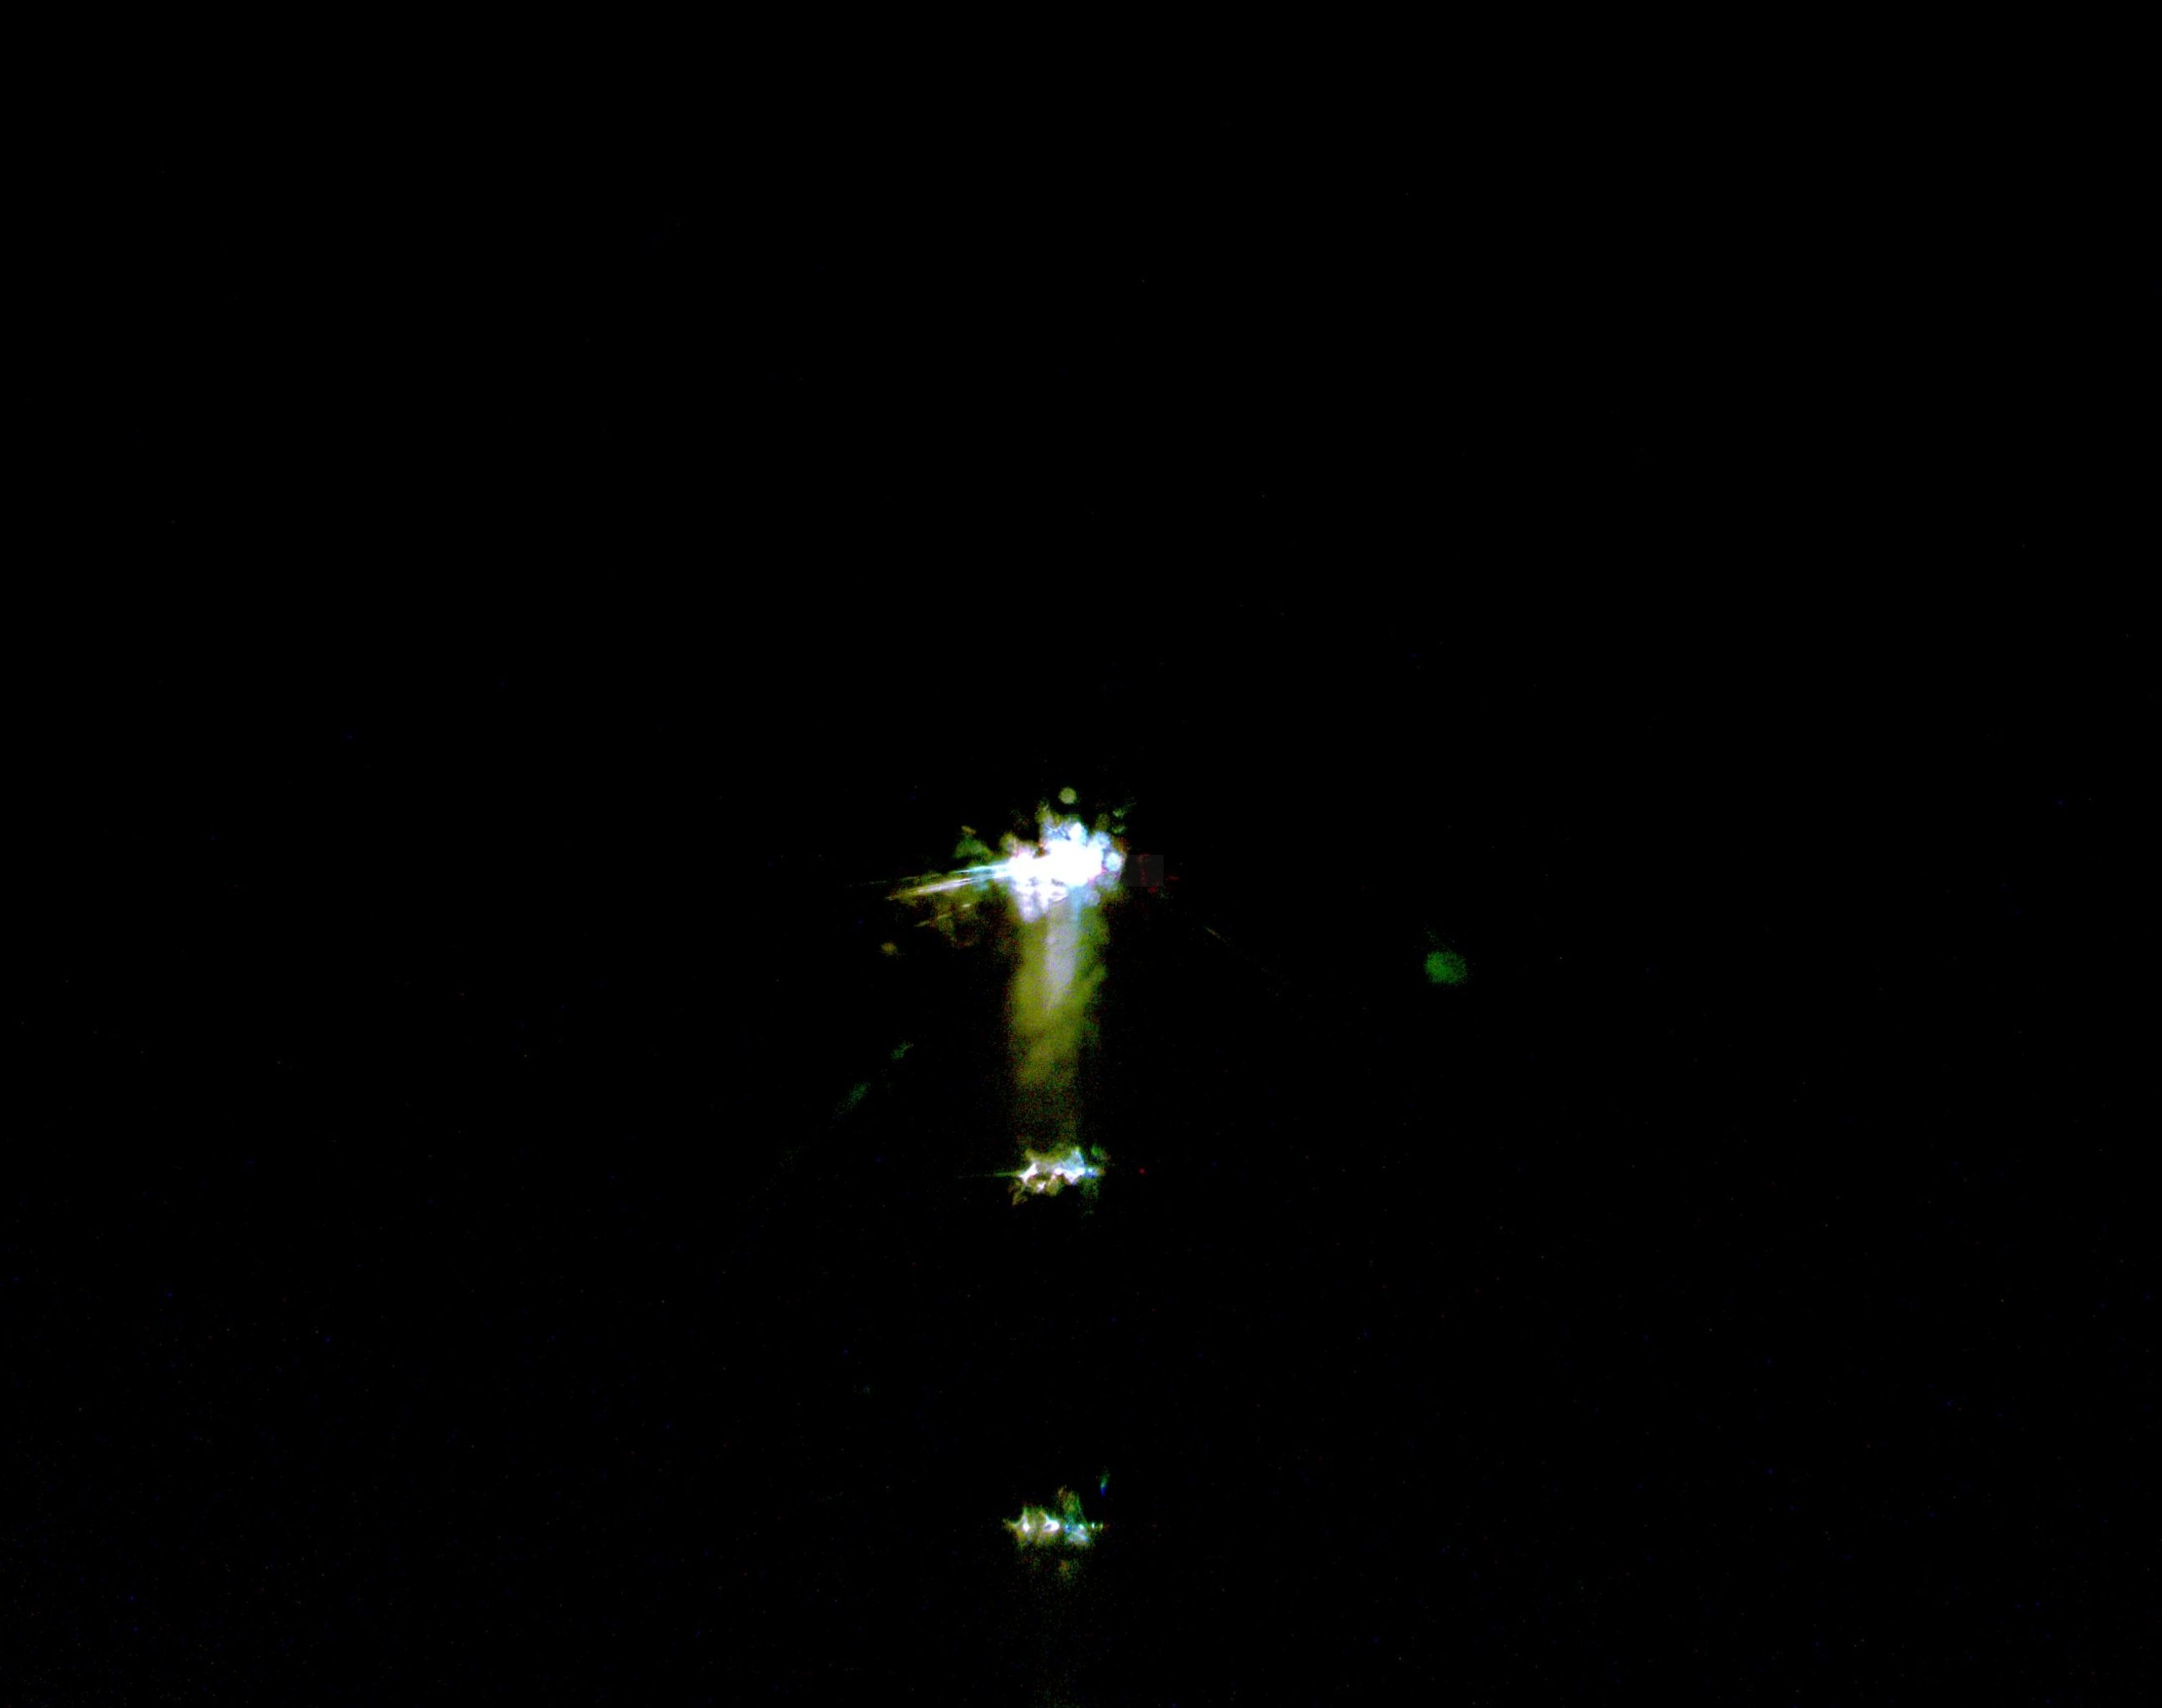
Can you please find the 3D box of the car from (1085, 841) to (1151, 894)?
[{"bbox_3d":[1.486,0.518,32.885,2.448,1.958,4.914,-1,-1,2],"label":"car"}]

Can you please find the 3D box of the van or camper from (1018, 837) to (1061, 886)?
[{"bbox_3d":[-2.360,0.396,48.165,2.117,2.565,5.782,-4,0,-1],"label":"van or camper"}]
